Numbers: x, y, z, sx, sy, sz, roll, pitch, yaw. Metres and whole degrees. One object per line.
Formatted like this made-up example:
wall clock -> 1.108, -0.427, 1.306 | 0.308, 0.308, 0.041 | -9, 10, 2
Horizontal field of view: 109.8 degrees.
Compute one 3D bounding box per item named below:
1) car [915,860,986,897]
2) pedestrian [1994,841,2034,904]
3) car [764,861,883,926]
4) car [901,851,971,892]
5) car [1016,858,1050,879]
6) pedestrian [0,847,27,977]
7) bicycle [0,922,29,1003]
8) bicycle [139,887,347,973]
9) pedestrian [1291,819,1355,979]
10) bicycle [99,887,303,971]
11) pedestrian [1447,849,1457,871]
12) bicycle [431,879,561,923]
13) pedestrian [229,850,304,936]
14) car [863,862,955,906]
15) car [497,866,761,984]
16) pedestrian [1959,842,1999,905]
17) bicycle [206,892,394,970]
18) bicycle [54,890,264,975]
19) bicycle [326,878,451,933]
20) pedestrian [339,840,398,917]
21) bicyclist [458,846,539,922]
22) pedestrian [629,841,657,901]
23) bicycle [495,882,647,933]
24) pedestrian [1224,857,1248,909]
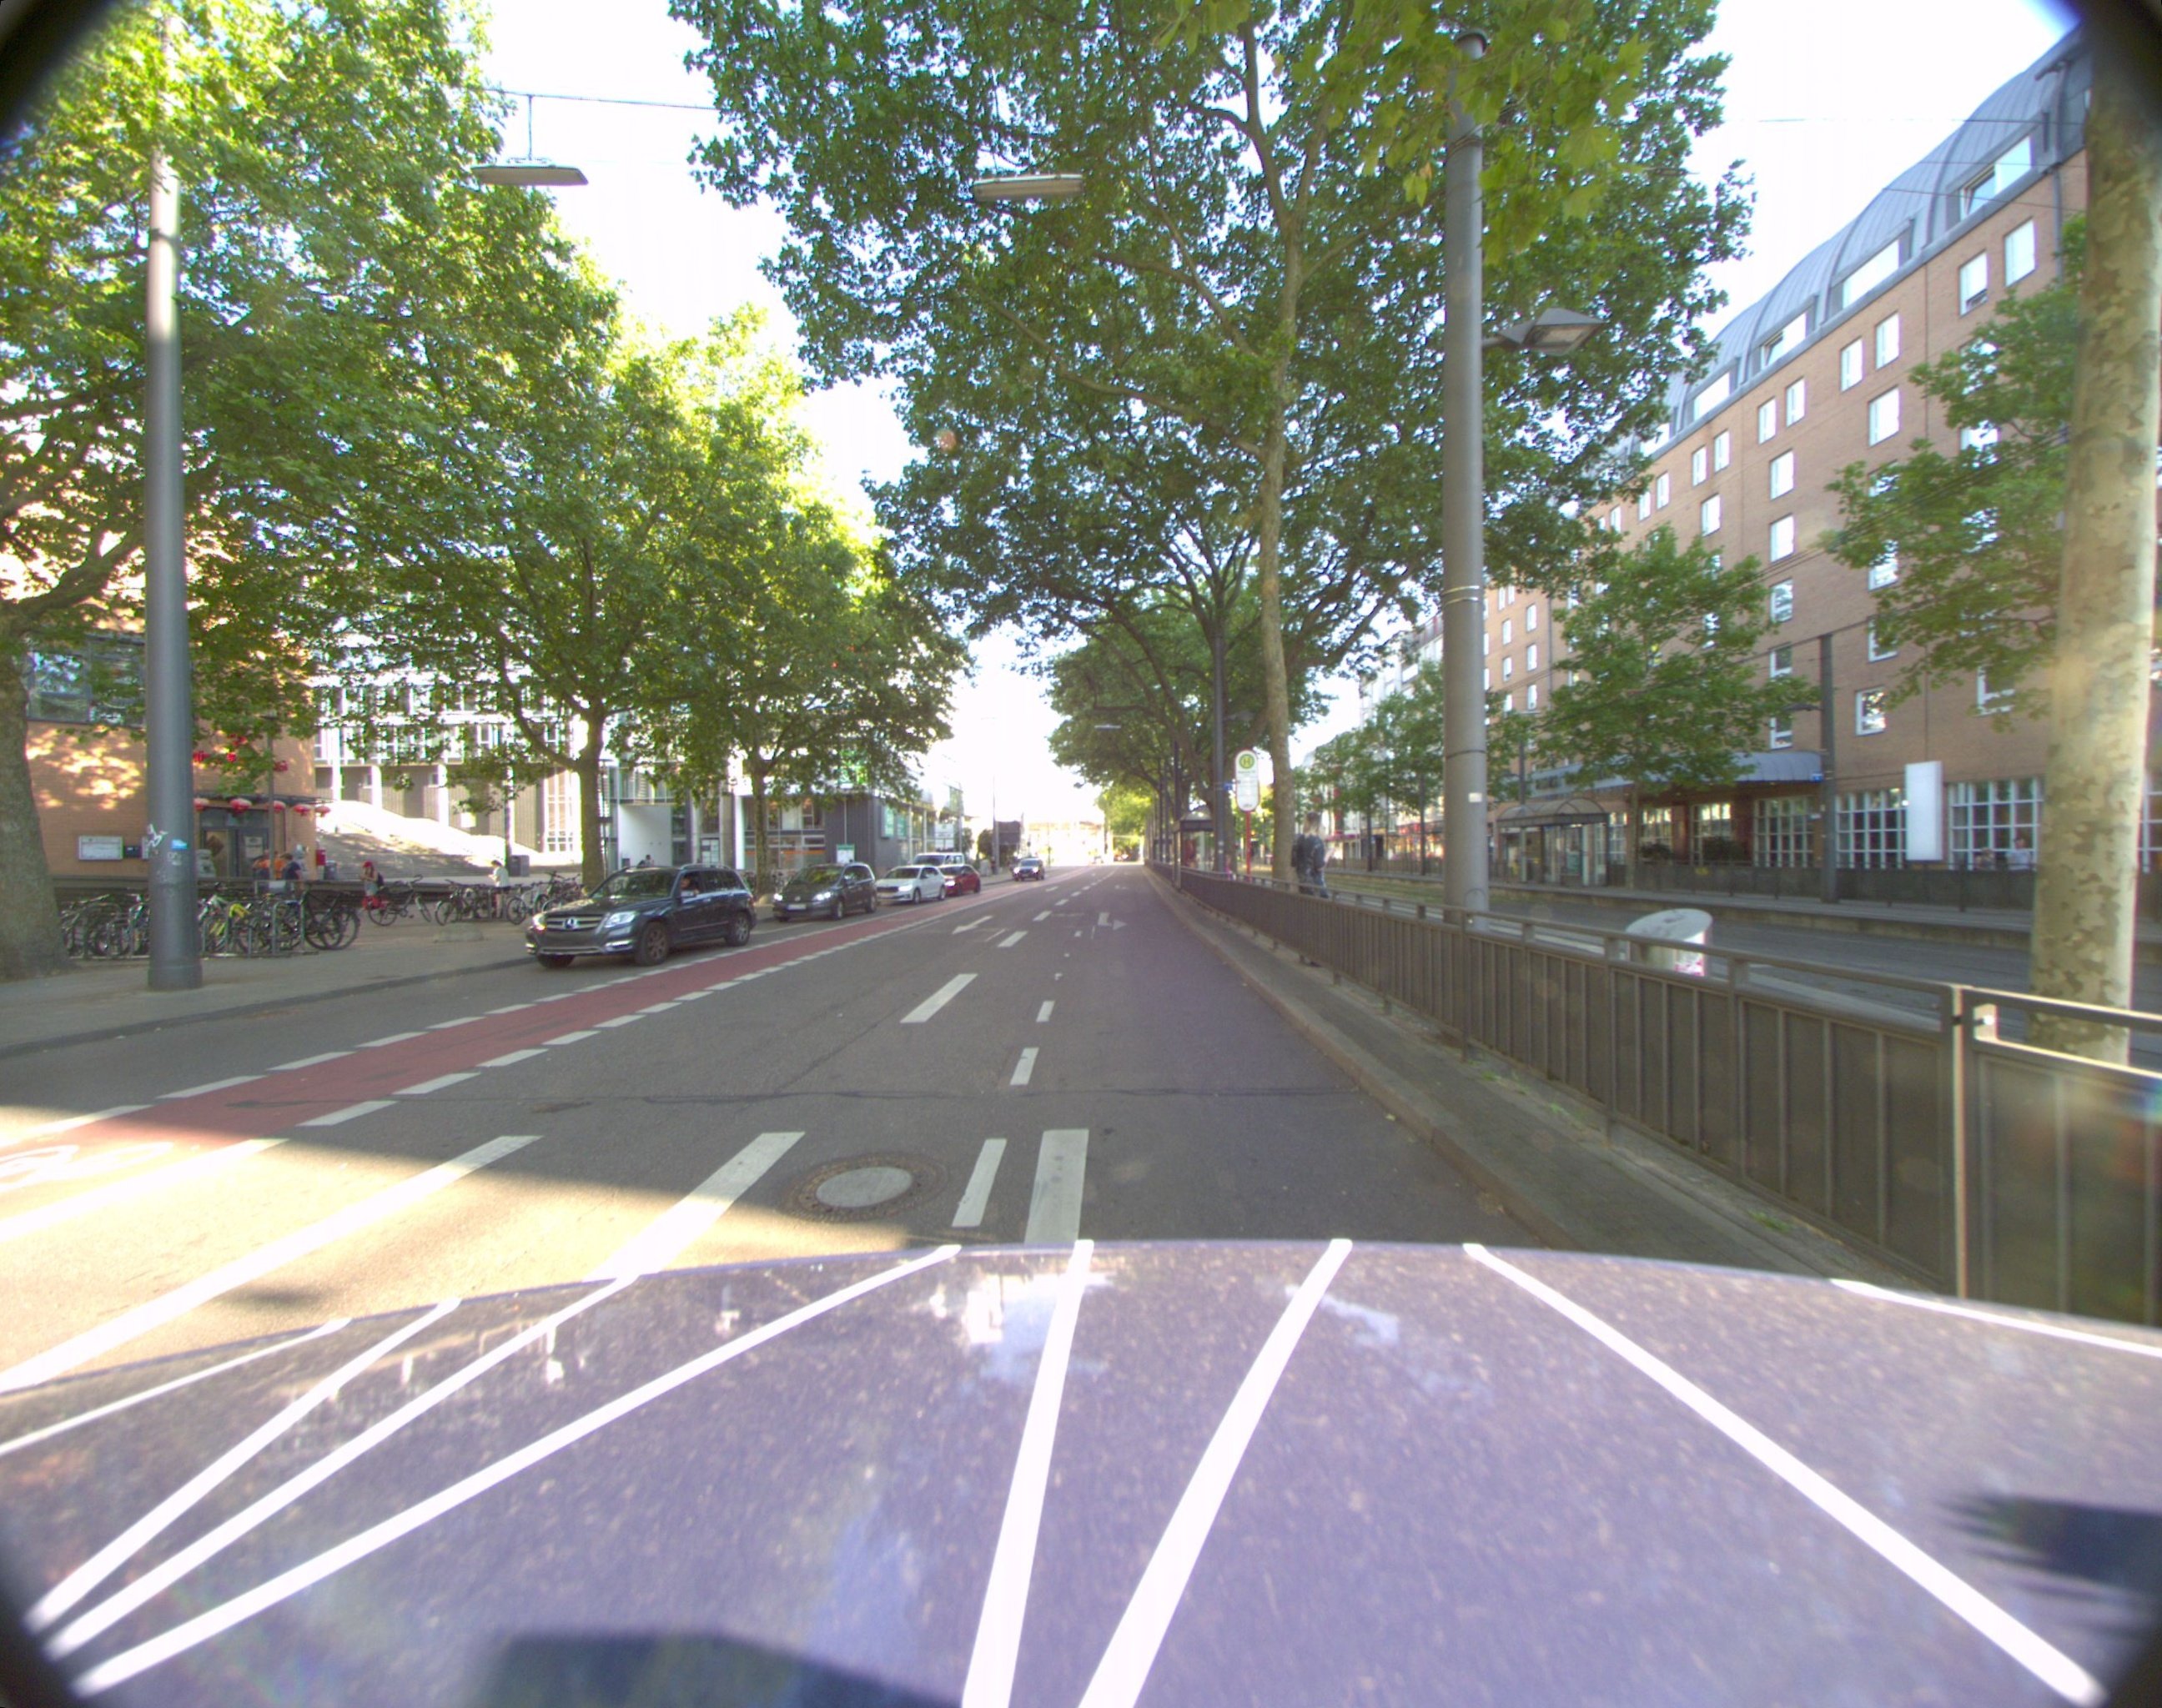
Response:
car -> -5.936, 1.087, 35.018 | 1.834, 1.481, 4.198 | -3, 0, 10
pedestrian -> 25.876, 0.504, 21.080 | 0.443, 1.725, 0.545 | 0, 1, 8
car -> -7.492, 1.091, 22.622 | 1.709, 1.626, 4.392 | -2, 0, 4
car -> -7.586, 0.871, 40.443 | 1.932, 1.953, 5.921 | -2, 0, 6
car -> -3.643, 1.085, 58.438 | 1.784, 1.481, 4.197 | -3, 0, 6
pedestrian -> -17.079, 0.895, 11.457 | 0.934, 2.002, 1.091 | -1, 1, -25
bicycle -> -13.394, 1.338, 7.989 | 0.925, 0.943, 2.637 | -2, 1, 1
bicycle -> -14.053, 1.223, 12.888 | 0.751, 1.155, 2.397 | -2, 1, 2
pedestrian -> 2.863, 0.521, 9.013 | 0.543, 1.823, 0.524 | -2, 1, 3
bicycle -> -14.828, 1.218, 12.935 | 0.671, 1.155, 2.305 | -2, 1, 2
pedestrian -> 29.911, 0.486, 61.229 | 0.504, 1.725, 0.574 | -1, 1, 3
bicycle -> -16.228, 1.277, 21.091 | 3.328, 1.077, 1.150 | 0, 1, 18
pedestrian -> -22.377, 1.050, 20.890 | 1.048, 2.235, 1.221 | -1, 1, 38
car -> -6.571, 1.124, 29.518 | 1.834, 1.481, 4.199 | -2, 0, 12
car -> -7.558, 1.084, 13.314 | 1.768, 1.626, 4.251 | -2, 0, 5
pedestrian -> 25.079, 0.534, 21.229 | 0.479, 1.725, 0.545 | 0, 1, 8
bicycle -> -13.113, 1.245, 12.894 | 0.682, 1.054, 2.337 | -1, 1, 2
bicycle -> -15.544, 1.271, 12.942 | 0.657, 1.155, 2.293 | -2, 1, 2
bicycle -> -17.844, 1.296, 19.709 | 0.699, 1.193, 2.700 | -2, 1, 1
pedestrian -> -20.990, 0.711, 22.404 | 0.842, 2.220, 0.905 | -2, 1, 22
bicyclist -> -16.112, 0.810, 21.044 | 1.296, 2.002, 1.158 | -1, 1, 17
pedestrian -> -19.973, 0.754, 34.625 | 0.981, 2.633, 0.900 | -3, 1, -31
bicycle -> -13.034, 1.327, 19.608 | 0.975, 1.020, 3.208 | -2, 1, 23
pedestrian -> 3.981, 0.738, 19.526 | 0.542, 1.310, 0.524 | -2, 1, 12
